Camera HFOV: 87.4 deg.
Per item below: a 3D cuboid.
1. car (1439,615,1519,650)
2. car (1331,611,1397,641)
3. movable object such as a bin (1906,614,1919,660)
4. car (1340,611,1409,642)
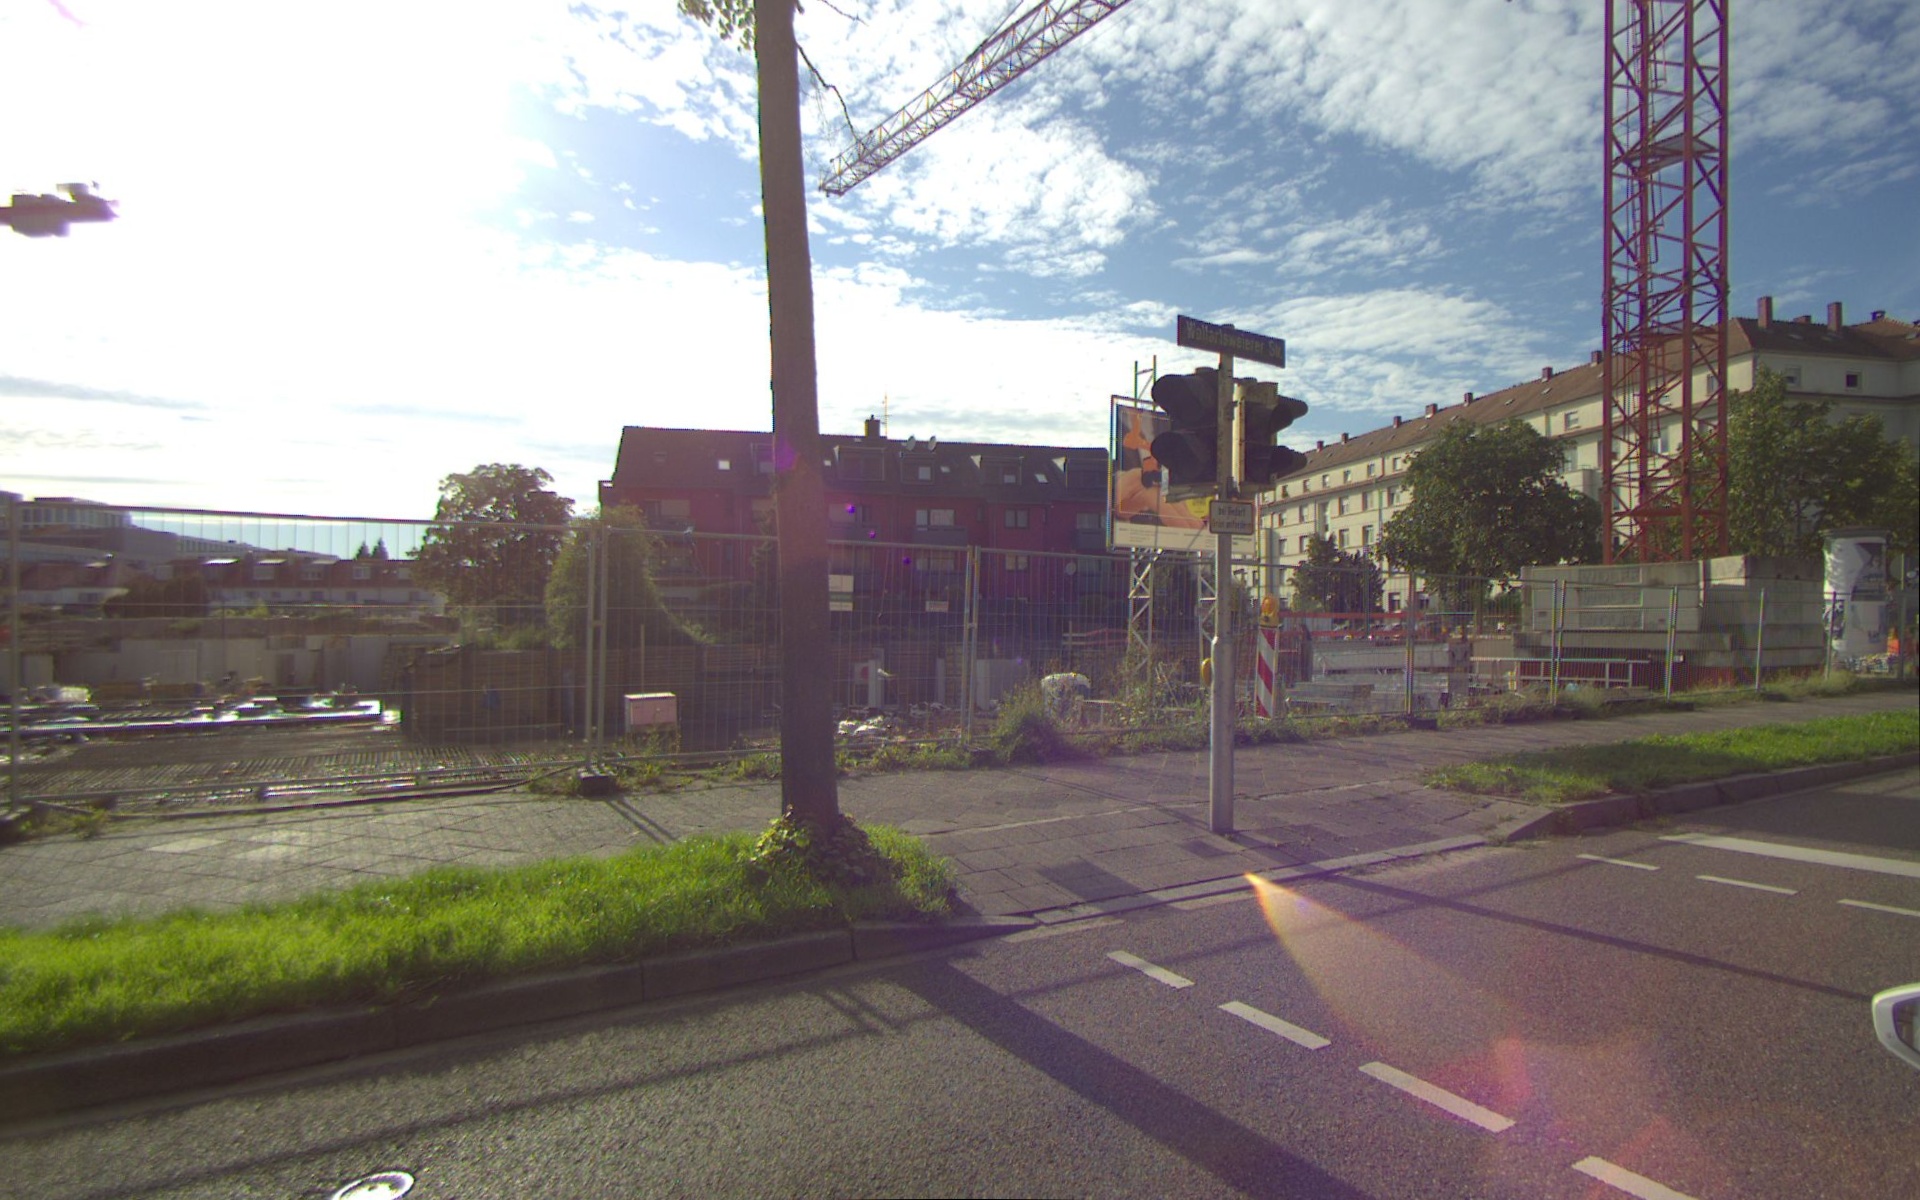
[{"bbox_3d":[31.077,1.941,60.171,3.934,2.040,1.994,0,-2,-16],"label":"car"},{"bbox_3d":[28.132,1.799,69.998,3.938,2.040,1.992,1,-1,-19],"label":"car"},{"bbox_3d":[37.562,1.408,37.375,1.522,1.730,3.103,1,-1,-16],"label":"movable object such as a bin"},{"bbox_3d":[27.795,1.758,67.344,3.938,2.040,1.992,1,-1,-19],"label":"car"}]
